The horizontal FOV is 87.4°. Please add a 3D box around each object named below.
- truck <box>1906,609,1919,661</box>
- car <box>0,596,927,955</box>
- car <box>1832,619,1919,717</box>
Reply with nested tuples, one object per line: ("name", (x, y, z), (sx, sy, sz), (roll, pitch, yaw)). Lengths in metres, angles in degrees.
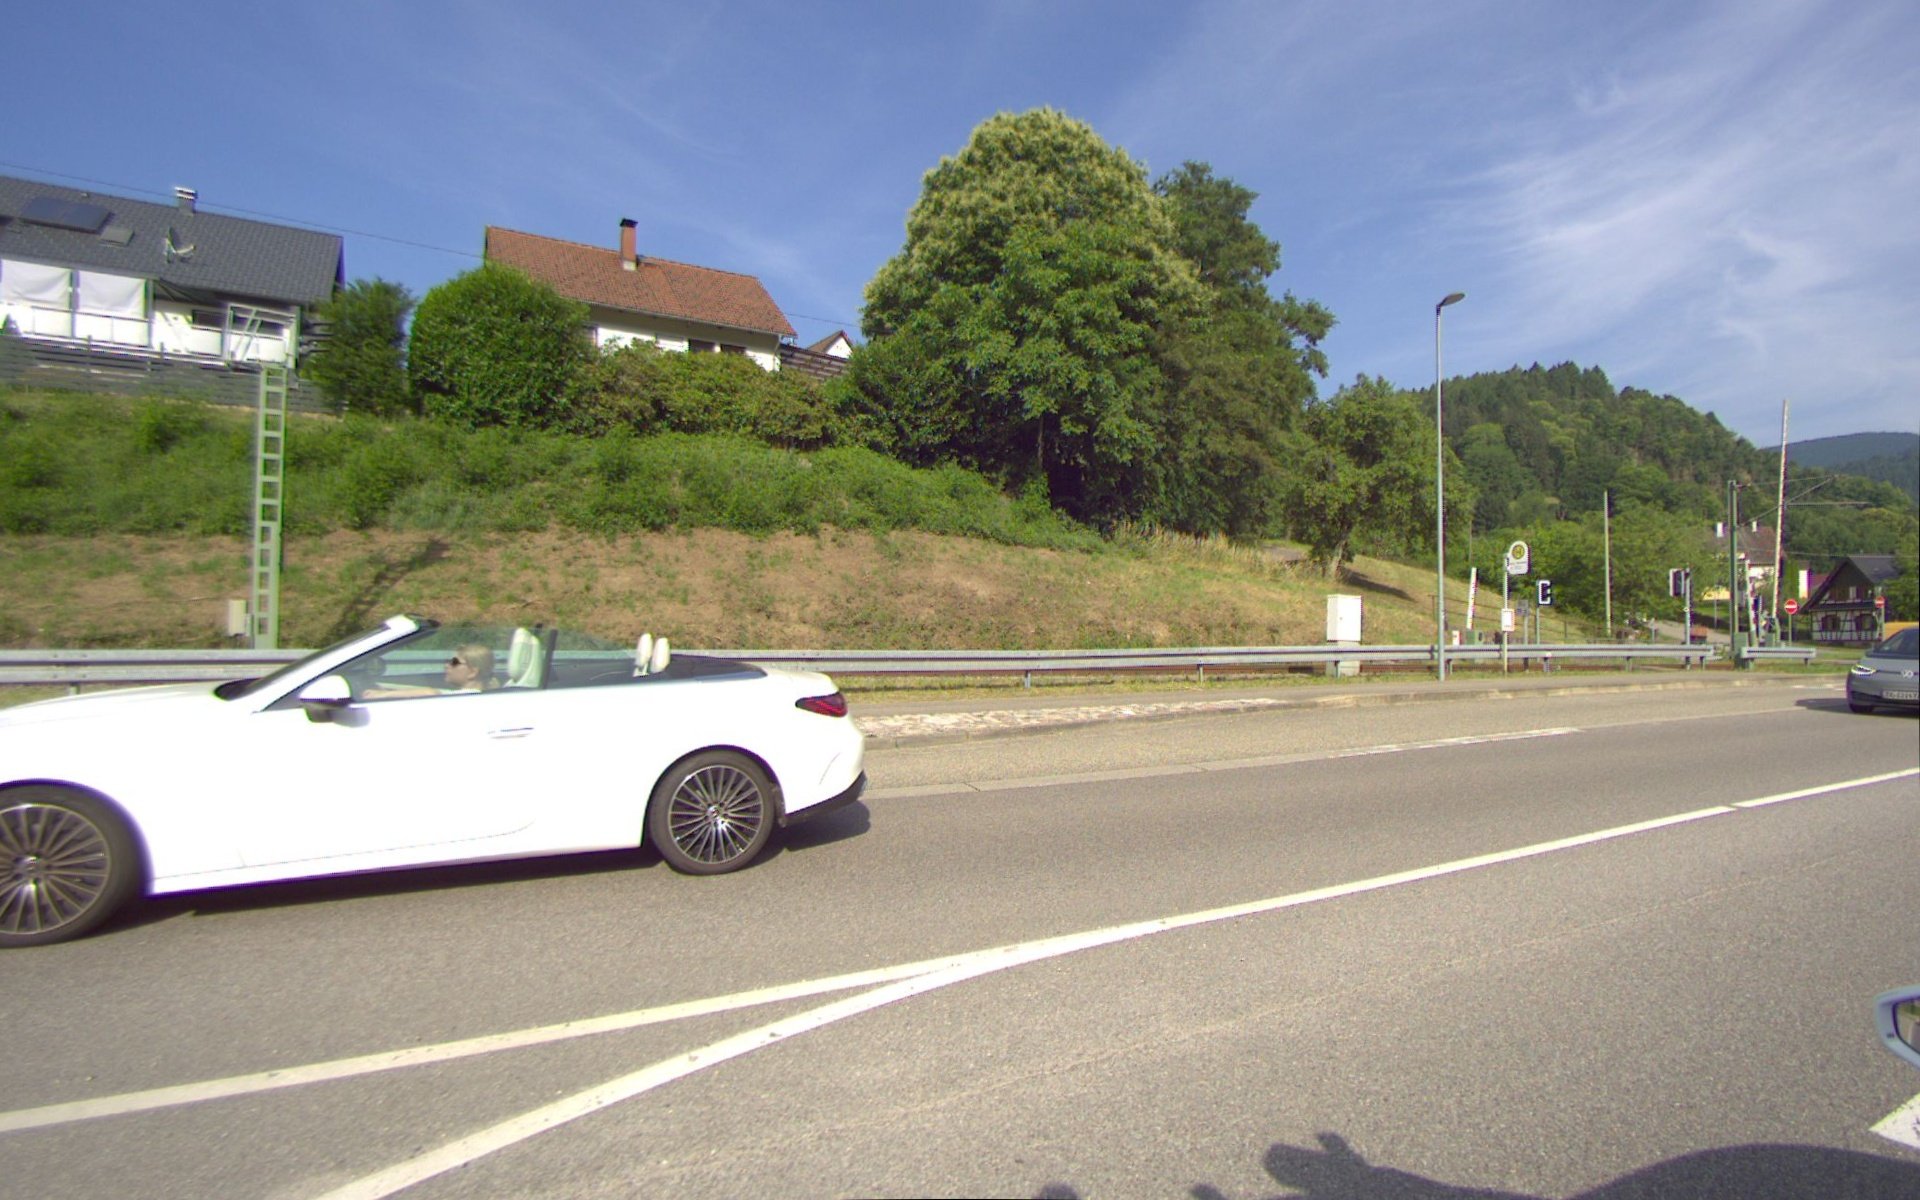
("truck", (42.665, 1.514, 41.353), (1.960, 2.296, 6.005), (1, -1, 3))
("car", (-2.711, 0.740, 5.614), (4.768, 1.418, 1.774), (1, 0, -29))
("car", (17.034, 1.154, 17.378), (4.156, 1.541, 1.750), (2, 0, -31))
